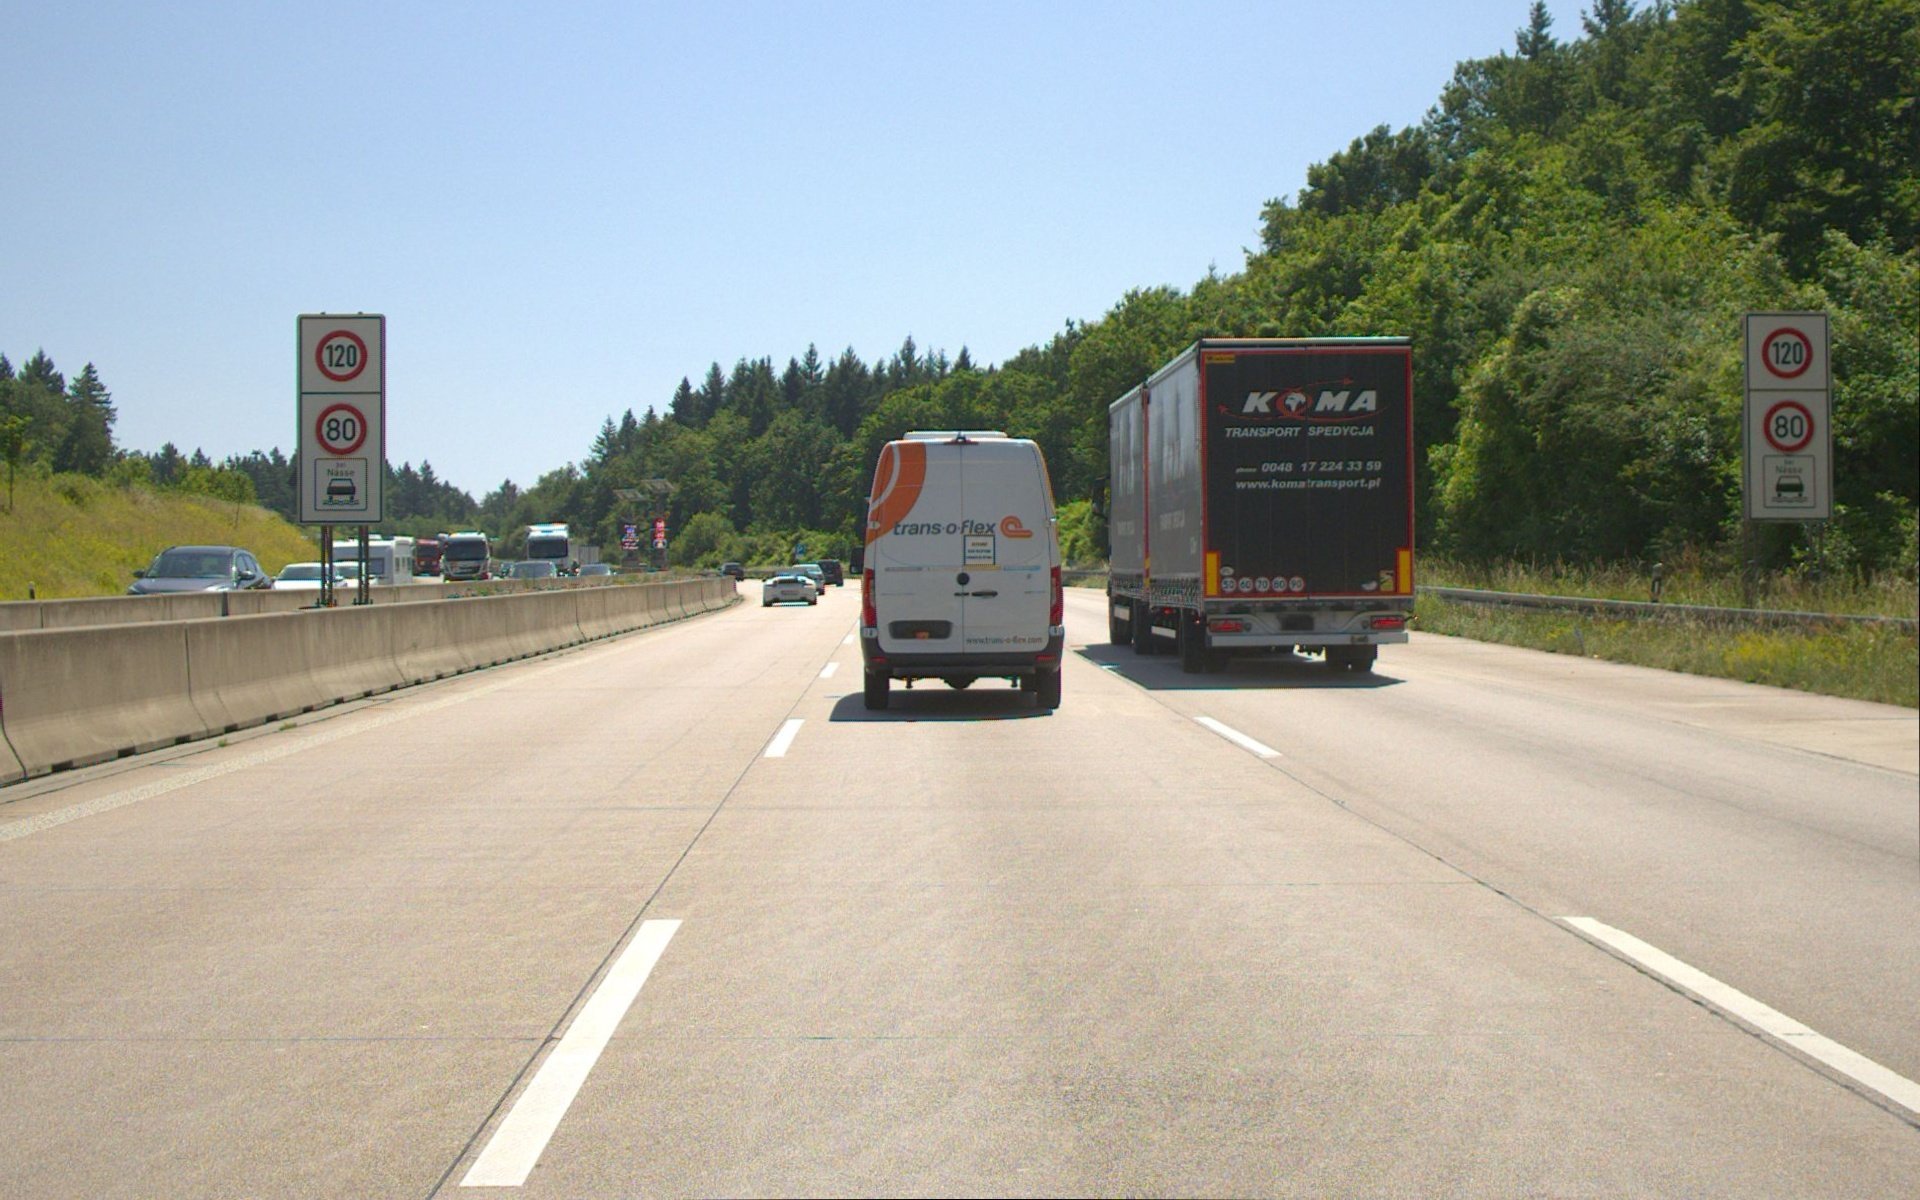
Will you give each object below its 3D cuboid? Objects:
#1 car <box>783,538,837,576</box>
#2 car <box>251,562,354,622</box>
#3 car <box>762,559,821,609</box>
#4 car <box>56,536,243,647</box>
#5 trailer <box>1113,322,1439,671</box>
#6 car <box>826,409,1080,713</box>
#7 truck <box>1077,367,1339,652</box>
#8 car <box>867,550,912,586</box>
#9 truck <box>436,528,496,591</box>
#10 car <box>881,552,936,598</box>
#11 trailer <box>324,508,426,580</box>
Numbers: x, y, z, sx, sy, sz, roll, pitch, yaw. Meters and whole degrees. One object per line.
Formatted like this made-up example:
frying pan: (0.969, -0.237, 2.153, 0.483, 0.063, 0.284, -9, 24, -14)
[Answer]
car: (-6.868, -1.944, 157.176, 1.993, 1.678, 4.001, 1, 0, -9)
car: (-17.721, -0.225, 92.824, 1.993, 1.553, 4.499, 0, 1, -1)
car: (-5.831, -0.559, 119.500, 1.993, 1.678, 4.000, 1, 0, -2)
car: (-12.843, -0.159, 54.719, 1.993, 1.686, 4.372, 1, 1, -1)
trailer: (3.871, -1.252, 44.429, 3.134, 4.003, 9.088, -1, 1, -1)
car: (-0.172, -0.427, 35.180, 2.226, 2.834, 5.455, -1, 1, -4)
truck: (3.708, -1.345, 54.268, 3.159, 4.003, 10.608, -1, 1, -1)
car: (-3.355, -1.506, 163.486, 1.993, 1.678, 4.000, 1, 0, 0)
truck: (-27.271, -2.234, 190.031, 2.725, 3.401, 4.512, 1, 0, -1)
car: (-1.964, -0.948, 132.057, 1.993, 1.678, 4.000, 1, 0, 1)
trailer: (-21.920, -2.083, 129.122, 2.606, 2.622, 7.782, 0, 1, -1)
